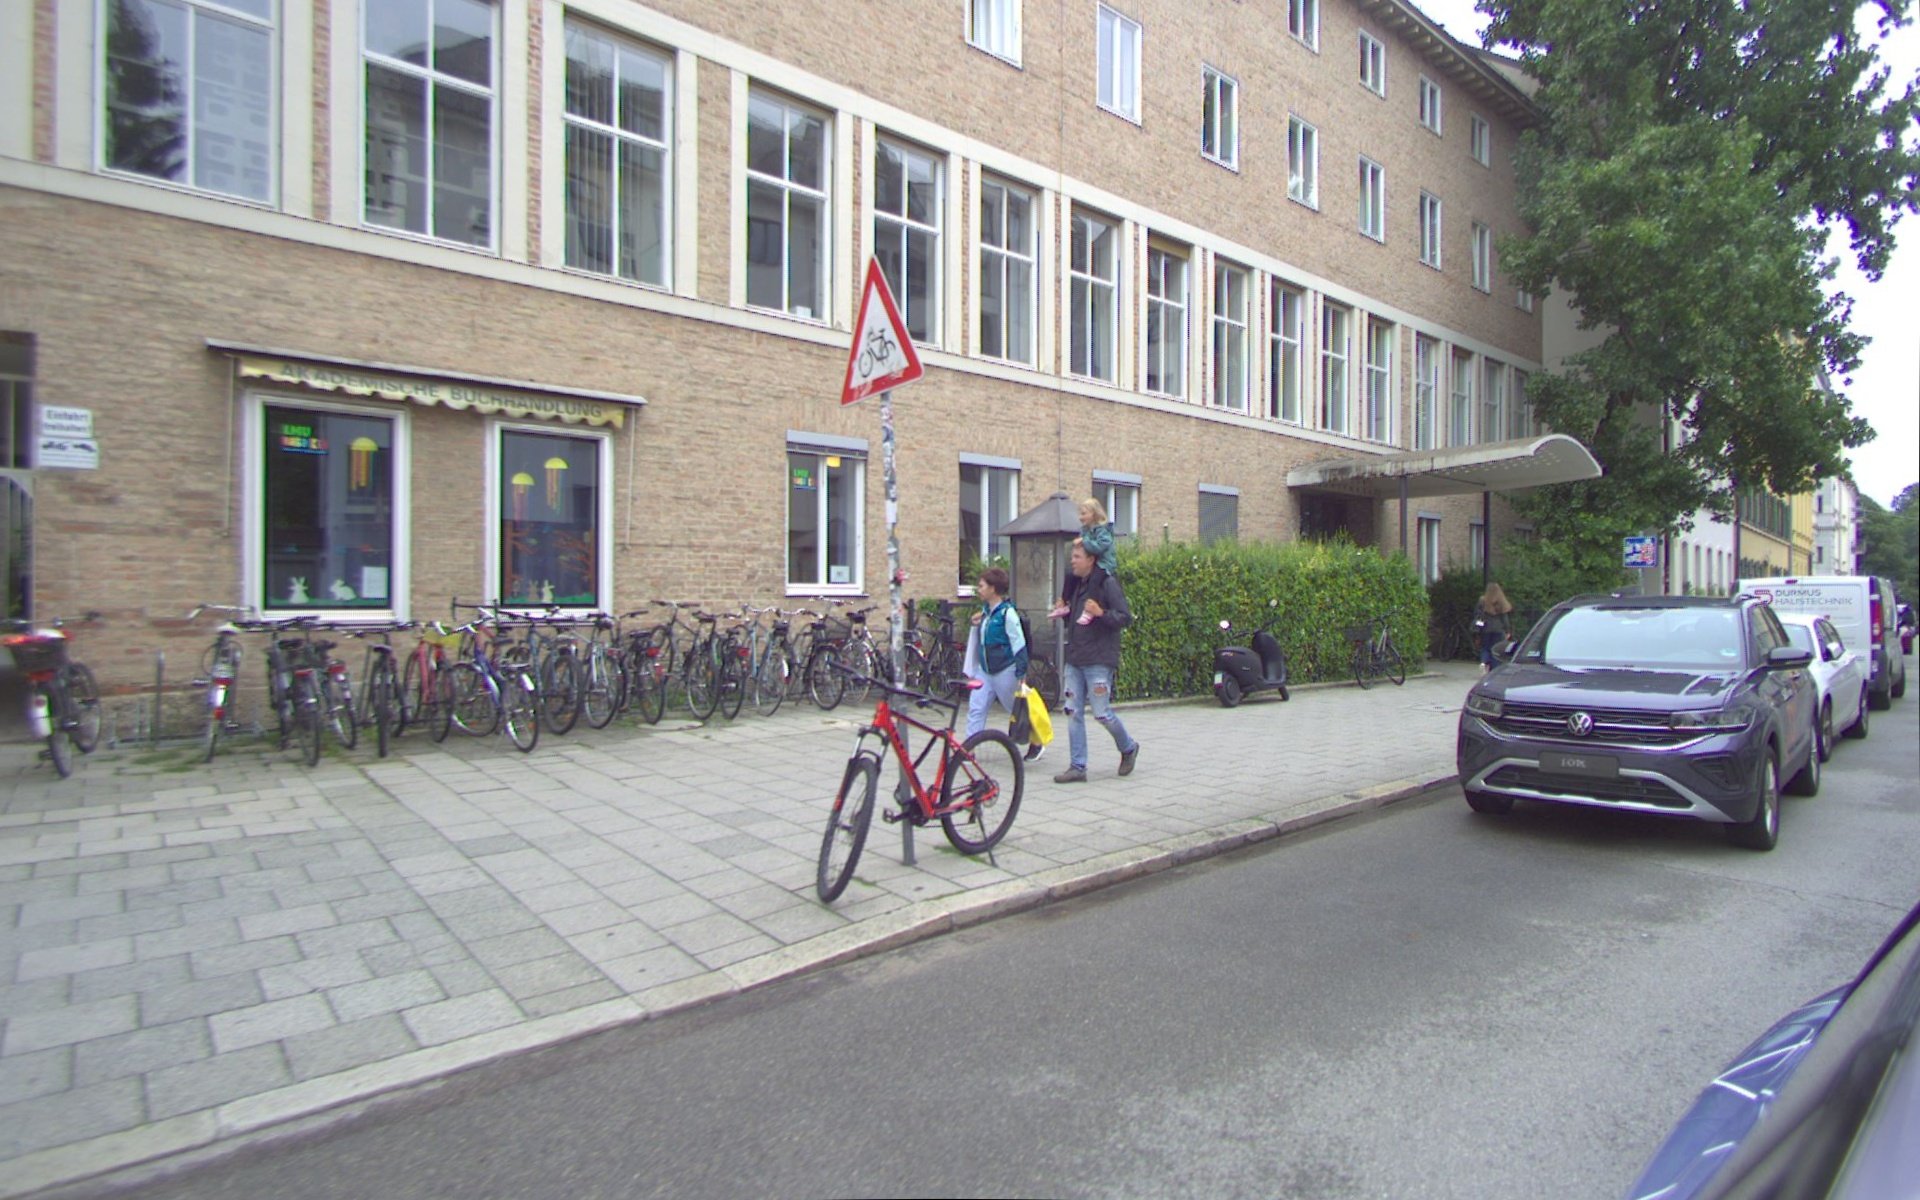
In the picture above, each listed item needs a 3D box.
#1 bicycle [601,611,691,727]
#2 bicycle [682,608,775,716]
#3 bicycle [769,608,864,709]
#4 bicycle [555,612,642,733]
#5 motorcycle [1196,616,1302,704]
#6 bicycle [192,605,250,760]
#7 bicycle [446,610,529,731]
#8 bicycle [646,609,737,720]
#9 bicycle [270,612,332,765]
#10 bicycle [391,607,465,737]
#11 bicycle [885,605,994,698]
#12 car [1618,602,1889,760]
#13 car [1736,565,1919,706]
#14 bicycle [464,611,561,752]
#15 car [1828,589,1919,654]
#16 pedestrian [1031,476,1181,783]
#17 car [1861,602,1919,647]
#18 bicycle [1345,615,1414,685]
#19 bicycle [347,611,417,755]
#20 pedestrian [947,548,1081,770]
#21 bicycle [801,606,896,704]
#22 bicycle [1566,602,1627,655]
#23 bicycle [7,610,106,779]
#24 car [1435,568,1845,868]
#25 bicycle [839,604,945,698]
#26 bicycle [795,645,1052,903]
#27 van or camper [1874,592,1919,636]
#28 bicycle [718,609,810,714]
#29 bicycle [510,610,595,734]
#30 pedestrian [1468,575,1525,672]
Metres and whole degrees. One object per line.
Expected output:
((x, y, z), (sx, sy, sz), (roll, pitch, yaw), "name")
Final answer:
((-3.260, 0.664, 10.430), (0.342, 1.055, 1.634), (1, 1, -37), "bicycle")
((-2.564, 0.637, 11.099), (0.342, 1.055, 1.634), (1, 1, -37), "bicycle")
((-1.705, 0.649, 11.859), (0.342, 1.055, 1.634), (1, 1, -37), "bicycle")
((-3.643, 0.682, 10.144), (0.342, 1.055, 1.634), (1, 1, -37), "bicycle")
((3.842, 0.756, 13.378), (1.892, 1.067, 0.488), (1, -1, -45), "motorcycle")
((-6.040, 0.618, 8.298), (0.342, 1.108, 1.635), (1, 1, -35), "bicycle")
((-4.626, 0.649, 9.863), (0.342, 1.055, 1.432), (1, 1, -41), "bicycle")
((-2.901, 0.649, 10.848), (0.342, 1.055, 1.634), (1, 1, -37), "bicycle")
((-5.298, 0.653, 8.105), (0.342, 1.055, 1.635), (1, 1, -35), "bicycle")
((-4.952, 0.620, 9.376), (0.342, 1.055, 1.634), (1, 1, -37), "bicycle")
((-0.283, 0.620, 12.761), (0.342, 1.055, 1.631), (1, 1, -44), "bicycle")
((8.890, 0.749, 11.211), (4.129, 1.435, 1.675), (0, -1, -42), "car")
((14.135, 0.492, 16.314), (4.793, 1.949, 1.884), (0, 0, -44), "car")
((-3.823, 0.646, 8.595), (0.342, 1.055, 1.432), (1, 1, -41), "bicycle")
((27.444, 0.623, 30.269), (4.132, 1.799, 1.847), (0, -2, -45), "car")
((1.122, 0.201, 7.870), (0.779, 2.225, 0.815), (1, 2, -27), "pedestrian")
((32.506, 0.809, 35.143), (1.713, 1.442, 4.388), (0, 0, 43), "car")
((6.651, 0.770, 16.026), (1.462, 1.067, 0.422), (1, -1, -42), "bicycle")
((-4.932, 0.652, 8.599), (0.342, 1.055, 1.635), (1, 1, -35), "bicycle")
((0.430, 0.444, 8.370), (0.736, 1.713, 0.862), (1, 2, -26), "pedestrian")
((-1.368, 0.622, 12.152), (0.342, 1.055, 1.634), (1, 1, -37), "bicycle")
((13.804, 0.602, 21.931), (0.670, 1.087, 2.188), (1, 0, 44), "bicycle")
((-6.548, 0.624, 7.376), (0.342, 1.055, 1.635), (1, 1, -35), "bicycle")
((5.149, 0.636, 7.446), (3.891, 1.614, 1.748), (0, -1, -44), "car")
((-0.867, 0.601, 12.531), (0.342, 1.055, 1.632), (1, 1, -43), "bicycle")
((-0.123, 0.810, 5.246), (0.346, 1.054, 1.613), (3, 2, 38), "bicycle")
((46.233, 0.682, 49.637), (1.993, 2.039, 5.150), (1, 0, 43), "van or camper")
((-2.250, 0.659, 11.487), (0.342, 1.055, 1.634), (1, 1, -37), "bicycle")
((-3.988, 0.652, 9.846), (0.342, 1.055, 1.634), (1, 1, -37), "bicycle")
((9.411, 0.406, 17.744), (0.861, 1.654, 0.589), (1, -1, -40), "pedestrian")
